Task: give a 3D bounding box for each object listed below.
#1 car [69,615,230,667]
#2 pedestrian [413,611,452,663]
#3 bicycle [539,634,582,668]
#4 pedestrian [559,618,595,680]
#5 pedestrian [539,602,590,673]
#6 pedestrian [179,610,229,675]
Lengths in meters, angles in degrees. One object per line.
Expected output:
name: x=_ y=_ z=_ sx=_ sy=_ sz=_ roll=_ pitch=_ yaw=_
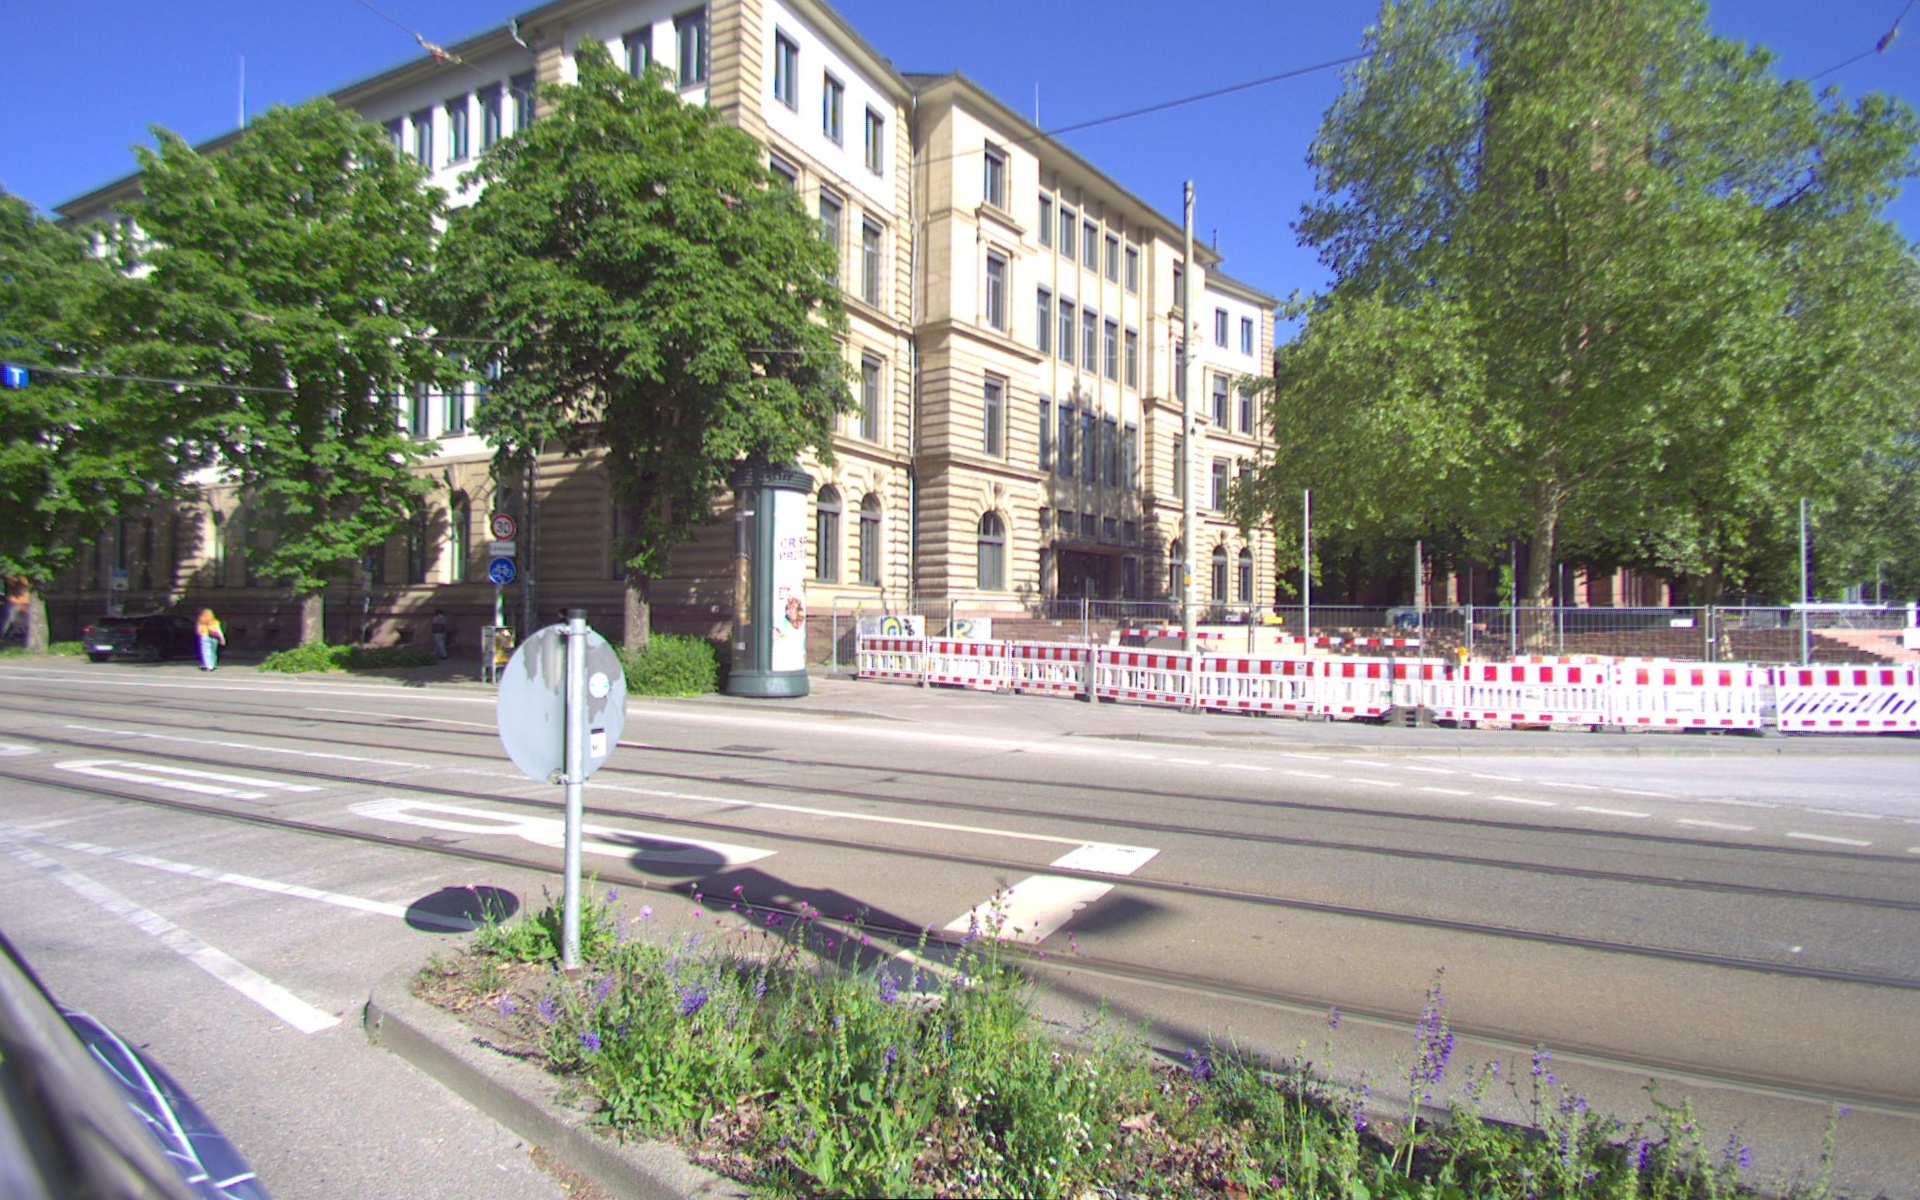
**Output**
car: x=-26.128 y=1.302 z=32.831 sx=1.895 sy=1.586 sz=4.108 roll=0 pitch=-1 yaw=1
pedestrian: x=-16.625 y=1.161 z=31.913 sx=0.853 sy=1.578 sz=0.668 roll=0 pitch=2 yaw=24
bicycle: x=-11.425 y=1.457 z=28.914 sx=1.356 sy=0.910 sz=0.394 roll=0 pitch=0 yaw=31
pedestrian: x=-9.960 y=1.271 z=26.313 sx=0.651 sy=1.574 sz=0.573 roll=-1 pitch=-2 yaw=29
pedestrian: x=-9.789 y=0.921 z=25.059 sx=0.840 sy=1.682 sz=0.725 roll=2 pitch=0 yaw=21
pedestrian: x=-20.520 y=1.169 z=27.467 sx=1.031 sy=1.682 sz=0.762 roll=-6 pitch=-6 yaw=35
